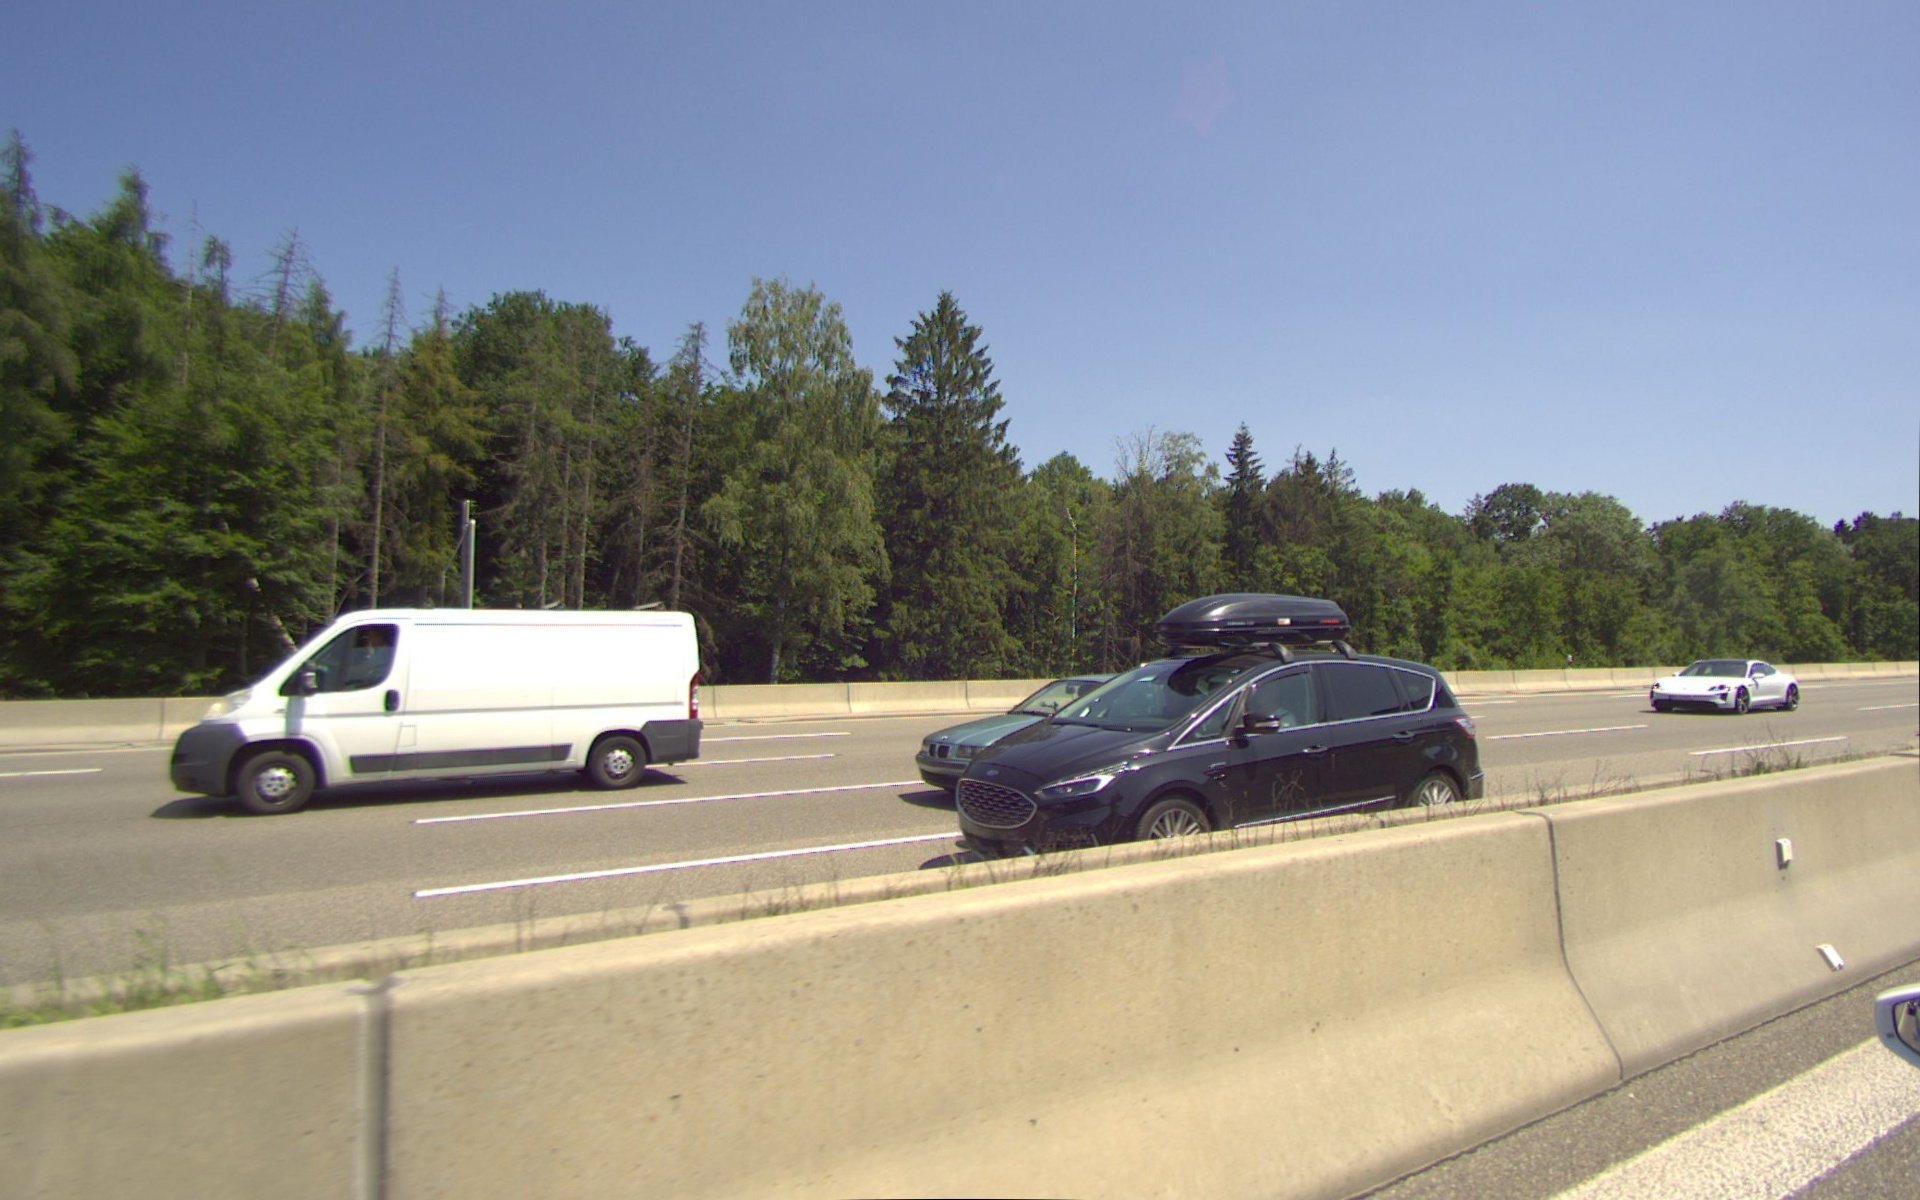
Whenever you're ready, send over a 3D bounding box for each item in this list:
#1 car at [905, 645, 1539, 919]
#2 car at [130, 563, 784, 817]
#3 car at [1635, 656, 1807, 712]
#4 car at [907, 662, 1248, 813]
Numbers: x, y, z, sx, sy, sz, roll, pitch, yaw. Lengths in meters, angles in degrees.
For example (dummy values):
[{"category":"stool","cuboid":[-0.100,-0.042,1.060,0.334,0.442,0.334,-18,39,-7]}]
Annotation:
[{"category":"car","cuboid":[2.263,1.183,8.114,5.166,1.627,1.861,1,-3,-30]},{"category":"car","cuboid":[-5.590,1.045,12.186,6.549,2.444,1.922,2,-5,-31]},{"category":"car","cuboid":[20.435,2.204,26.939,4.787,1.323,1.984,2,-2,-30]},{"category":"car","cuboid":[1.418,1.485,11.726,3.794,1.474,1.542,1,-4,-30]}]
